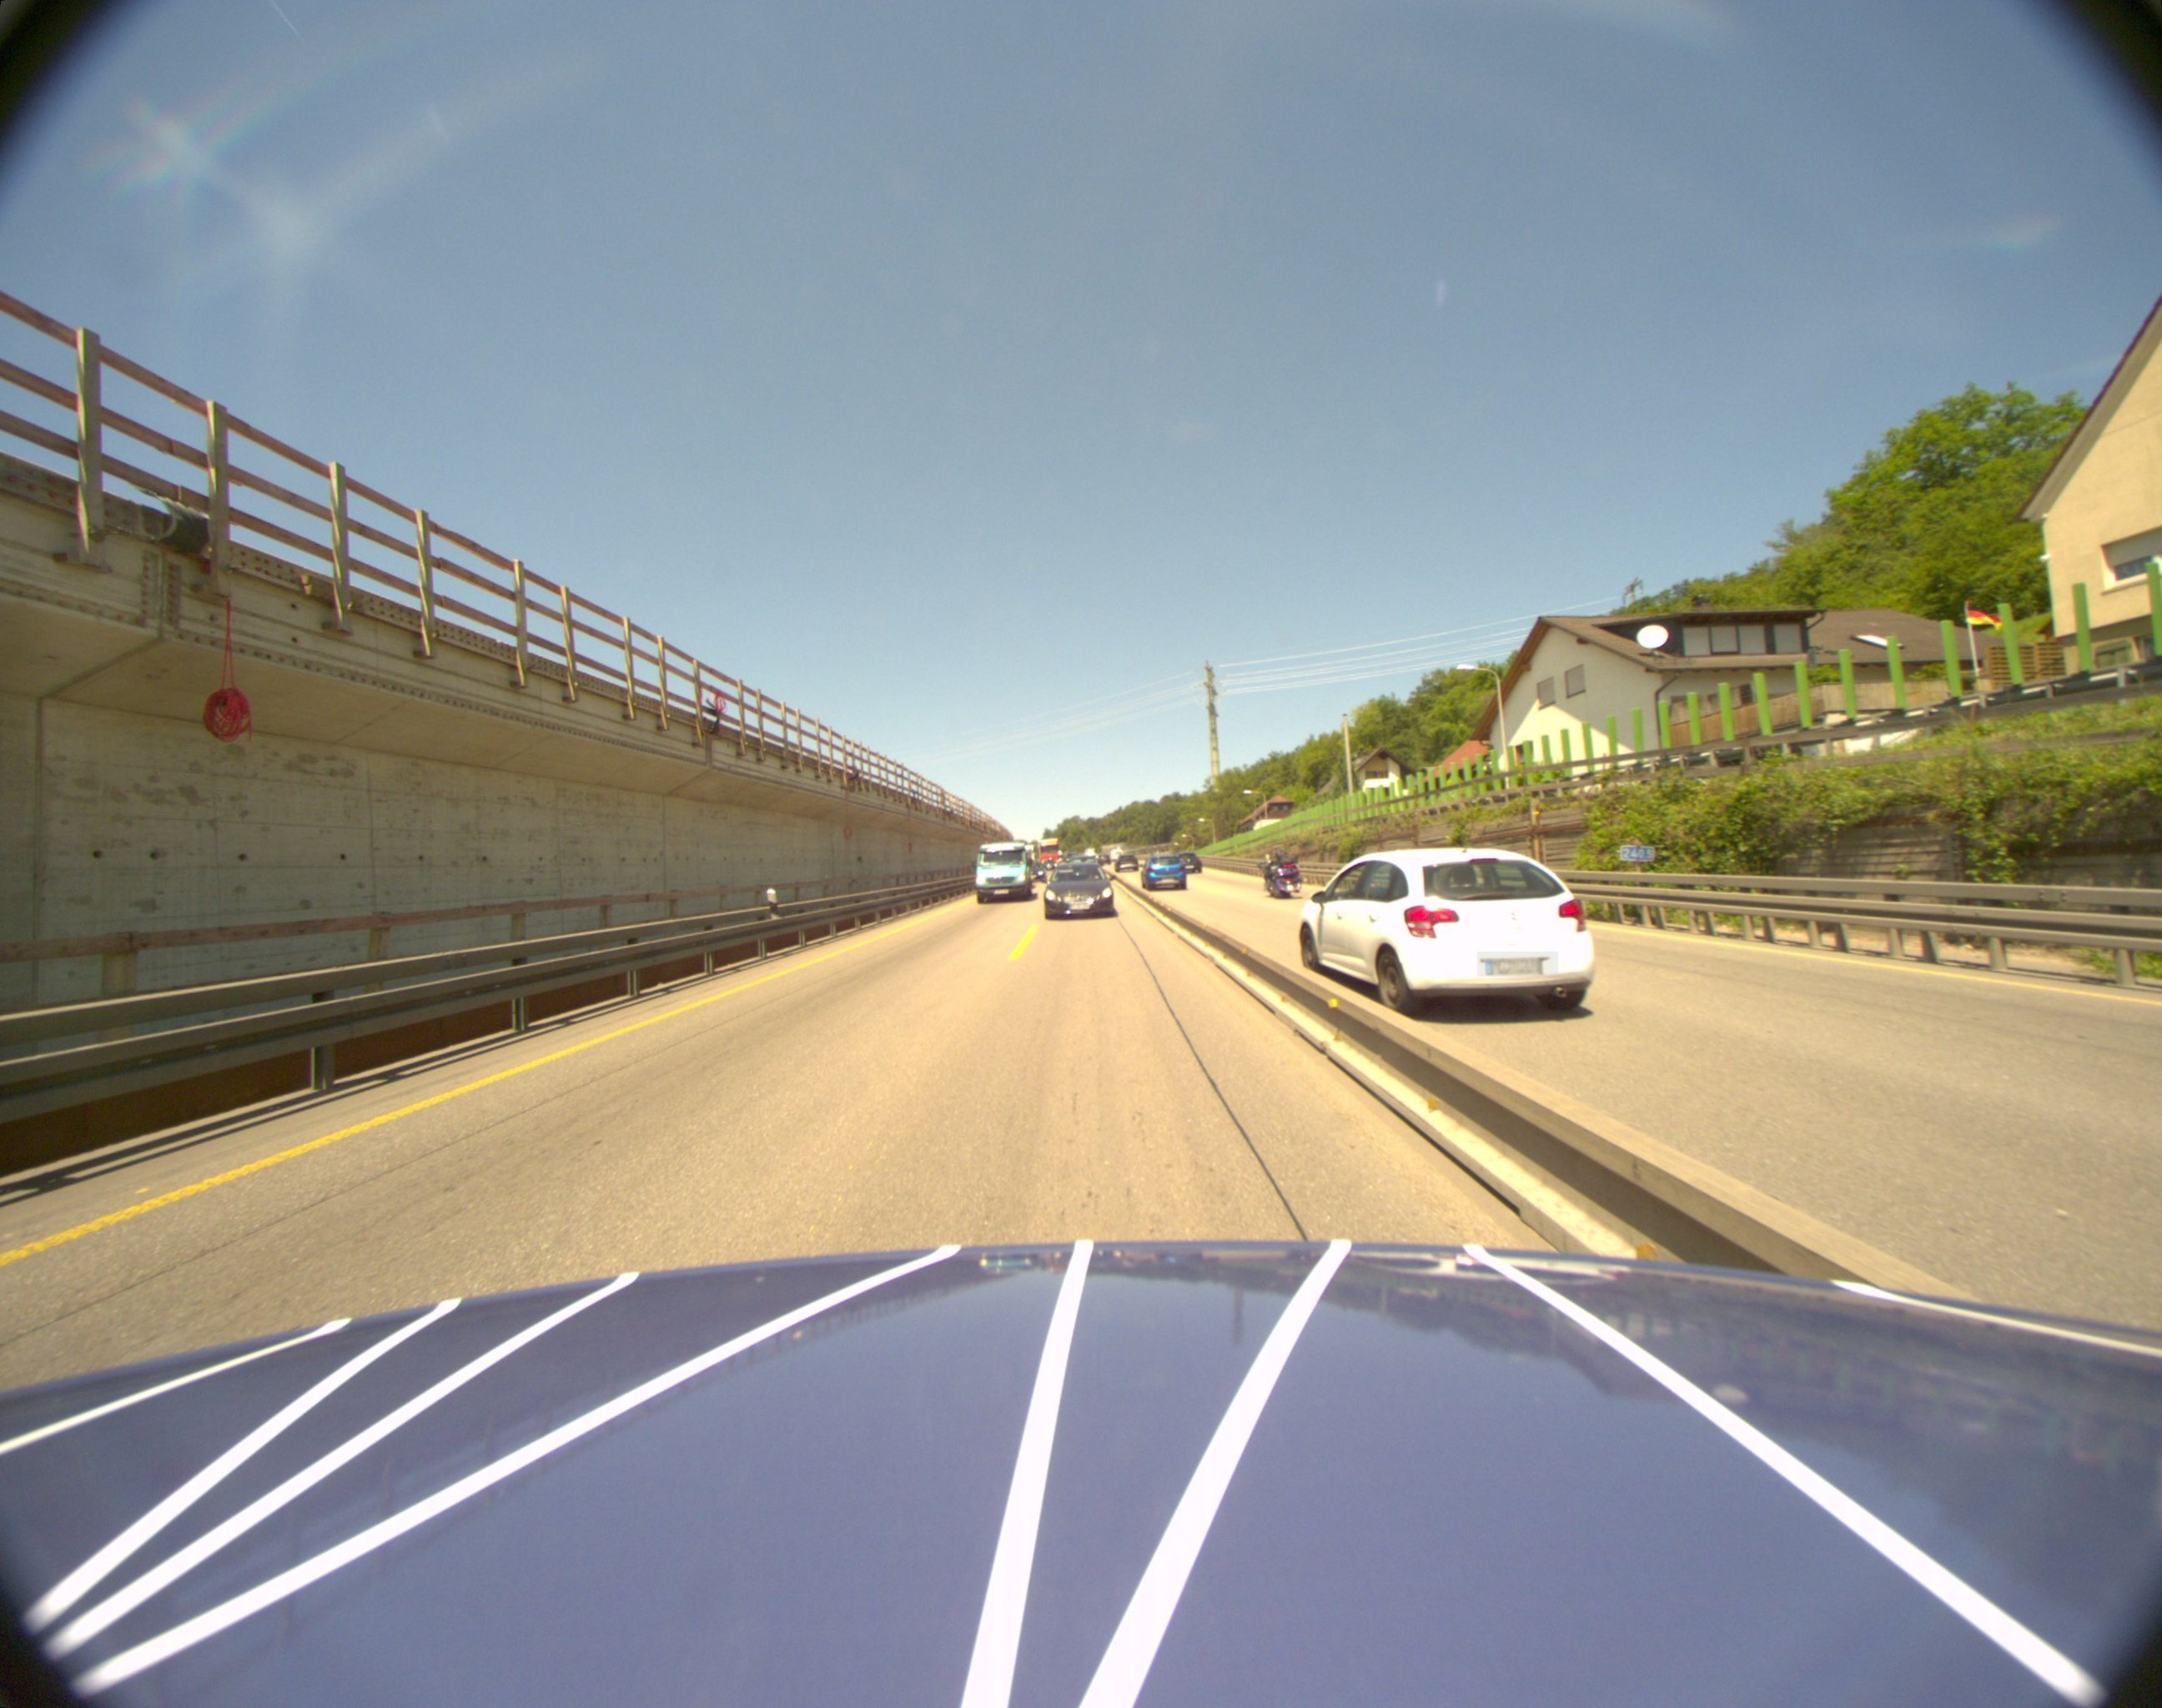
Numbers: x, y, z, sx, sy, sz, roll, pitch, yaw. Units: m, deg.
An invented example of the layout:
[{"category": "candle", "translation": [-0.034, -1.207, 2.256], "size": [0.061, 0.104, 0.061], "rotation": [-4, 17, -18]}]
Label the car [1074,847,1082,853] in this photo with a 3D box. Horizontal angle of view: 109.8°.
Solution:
[{"category": "car", "translation": [-0.847, -1.083, 214.873], "size": [1.999, 1.816, 4.507], "rotation": [-1, 0, -2]}]

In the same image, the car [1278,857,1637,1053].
[{"category": "car", "translation": [3.506, 0.812, 7.982], "size": [1.771, 1.477, 3.865], "rotation": [-2, 0, -1]}]

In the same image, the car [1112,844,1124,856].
[{"category": "car", "translation": [5.832, -0.641, 119.283], "size": [1.600, 1.823, 4.752], "rotation": [-2, 1, 0]}]

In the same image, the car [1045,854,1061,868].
[{"category": "car", "translation": [-3.419, 0.821, 92.506], "size": [1.674, 1.499, 3.647], "rotation": [-6, 1, 0]}]

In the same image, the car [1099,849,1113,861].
[{"category": "car", "translation": [3.251, 0.164, 99.645], "size": [1.610, 1.438, 4.668], "rotation": [-3, 1, -2]}]

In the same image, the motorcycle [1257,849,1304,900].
[{"category": "motorcycle", "translation": [6.417, 0.648, 24.605], "size": [0.792, 1.542, 2.621], "rotation": [-3, 0, 1]}]

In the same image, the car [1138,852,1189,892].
[{"category": "car", "translation": [3.592, 0.759, 33.685], "size": [1.768, 1.601, 3.891], "rotation": [-2, 0, -1]}]

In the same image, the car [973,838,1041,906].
[{"category": "car", "translation": [-2.907, 0.648, 31.597], "size": [1.968, 2.367, 7.209], "rotation": [-4, 0, 0]}]

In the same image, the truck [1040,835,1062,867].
[{"category": "truck", "translation": [-4.304, -0.472, 108.498], "size": [2.651, 3.978, 11.192], "rotation": [-6, 1, -2]}]

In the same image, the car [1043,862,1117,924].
[{"category": "car", "translation": [-0.108, 0.995, 21.153], "size": [1.793, 1.440, 4.296], "rotation": [-2, 0, -2]}]

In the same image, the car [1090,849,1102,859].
[{"category": "car", "translation": [2.358, 0.024, 122.932], "size": [1.737, 1.429, 4.257], "rotation": [-4, 1, -1]}]

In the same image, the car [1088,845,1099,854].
[{"category": "car", "translation": [2.728, -0.966, 168.543], "size": [1.830, 1.914, 5.241], "rotation": [-4, 0, -5]}]

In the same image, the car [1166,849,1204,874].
[{"category": "car", "translation": [7.080, 0.475, 52.112], "size": [1.818, 1.440, 5.006], "rotation": [-4, 1, -1]}]

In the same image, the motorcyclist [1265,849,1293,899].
[{"category": "motorcyclist", "translation": [6.408, 0.651, 24.645], "size": [0.667, 1.576, 0.736], "rotation": [-2, 1, 0]}]

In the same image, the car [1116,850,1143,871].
[{"category": "car", "translation": [3.984, 0.504, 62.960], "size": [1.847, 1.521, 4.293], "rotation": [-2, 1, 0]}]

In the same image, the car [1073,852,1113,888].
[{"category": "car", "translation": [0.588, 0.824, 41.217], "size": [1.860, 1.650, 3.999], "rotation": [-6, 1, -2]}]

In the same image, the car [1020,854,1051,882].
[{"category": "car", "translation": [-3.193, 0.973, 54.232], "size": [1.860, 1.650, 3.999], "rotation": [-6, 1, -1]}]

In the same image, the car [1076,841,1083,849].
[{"category": "car", "translation": [-0.431, -2.536, 214.102], "size": [1.998, 2.002, 4.000], "rotation": [-3, 0, 0]}]
